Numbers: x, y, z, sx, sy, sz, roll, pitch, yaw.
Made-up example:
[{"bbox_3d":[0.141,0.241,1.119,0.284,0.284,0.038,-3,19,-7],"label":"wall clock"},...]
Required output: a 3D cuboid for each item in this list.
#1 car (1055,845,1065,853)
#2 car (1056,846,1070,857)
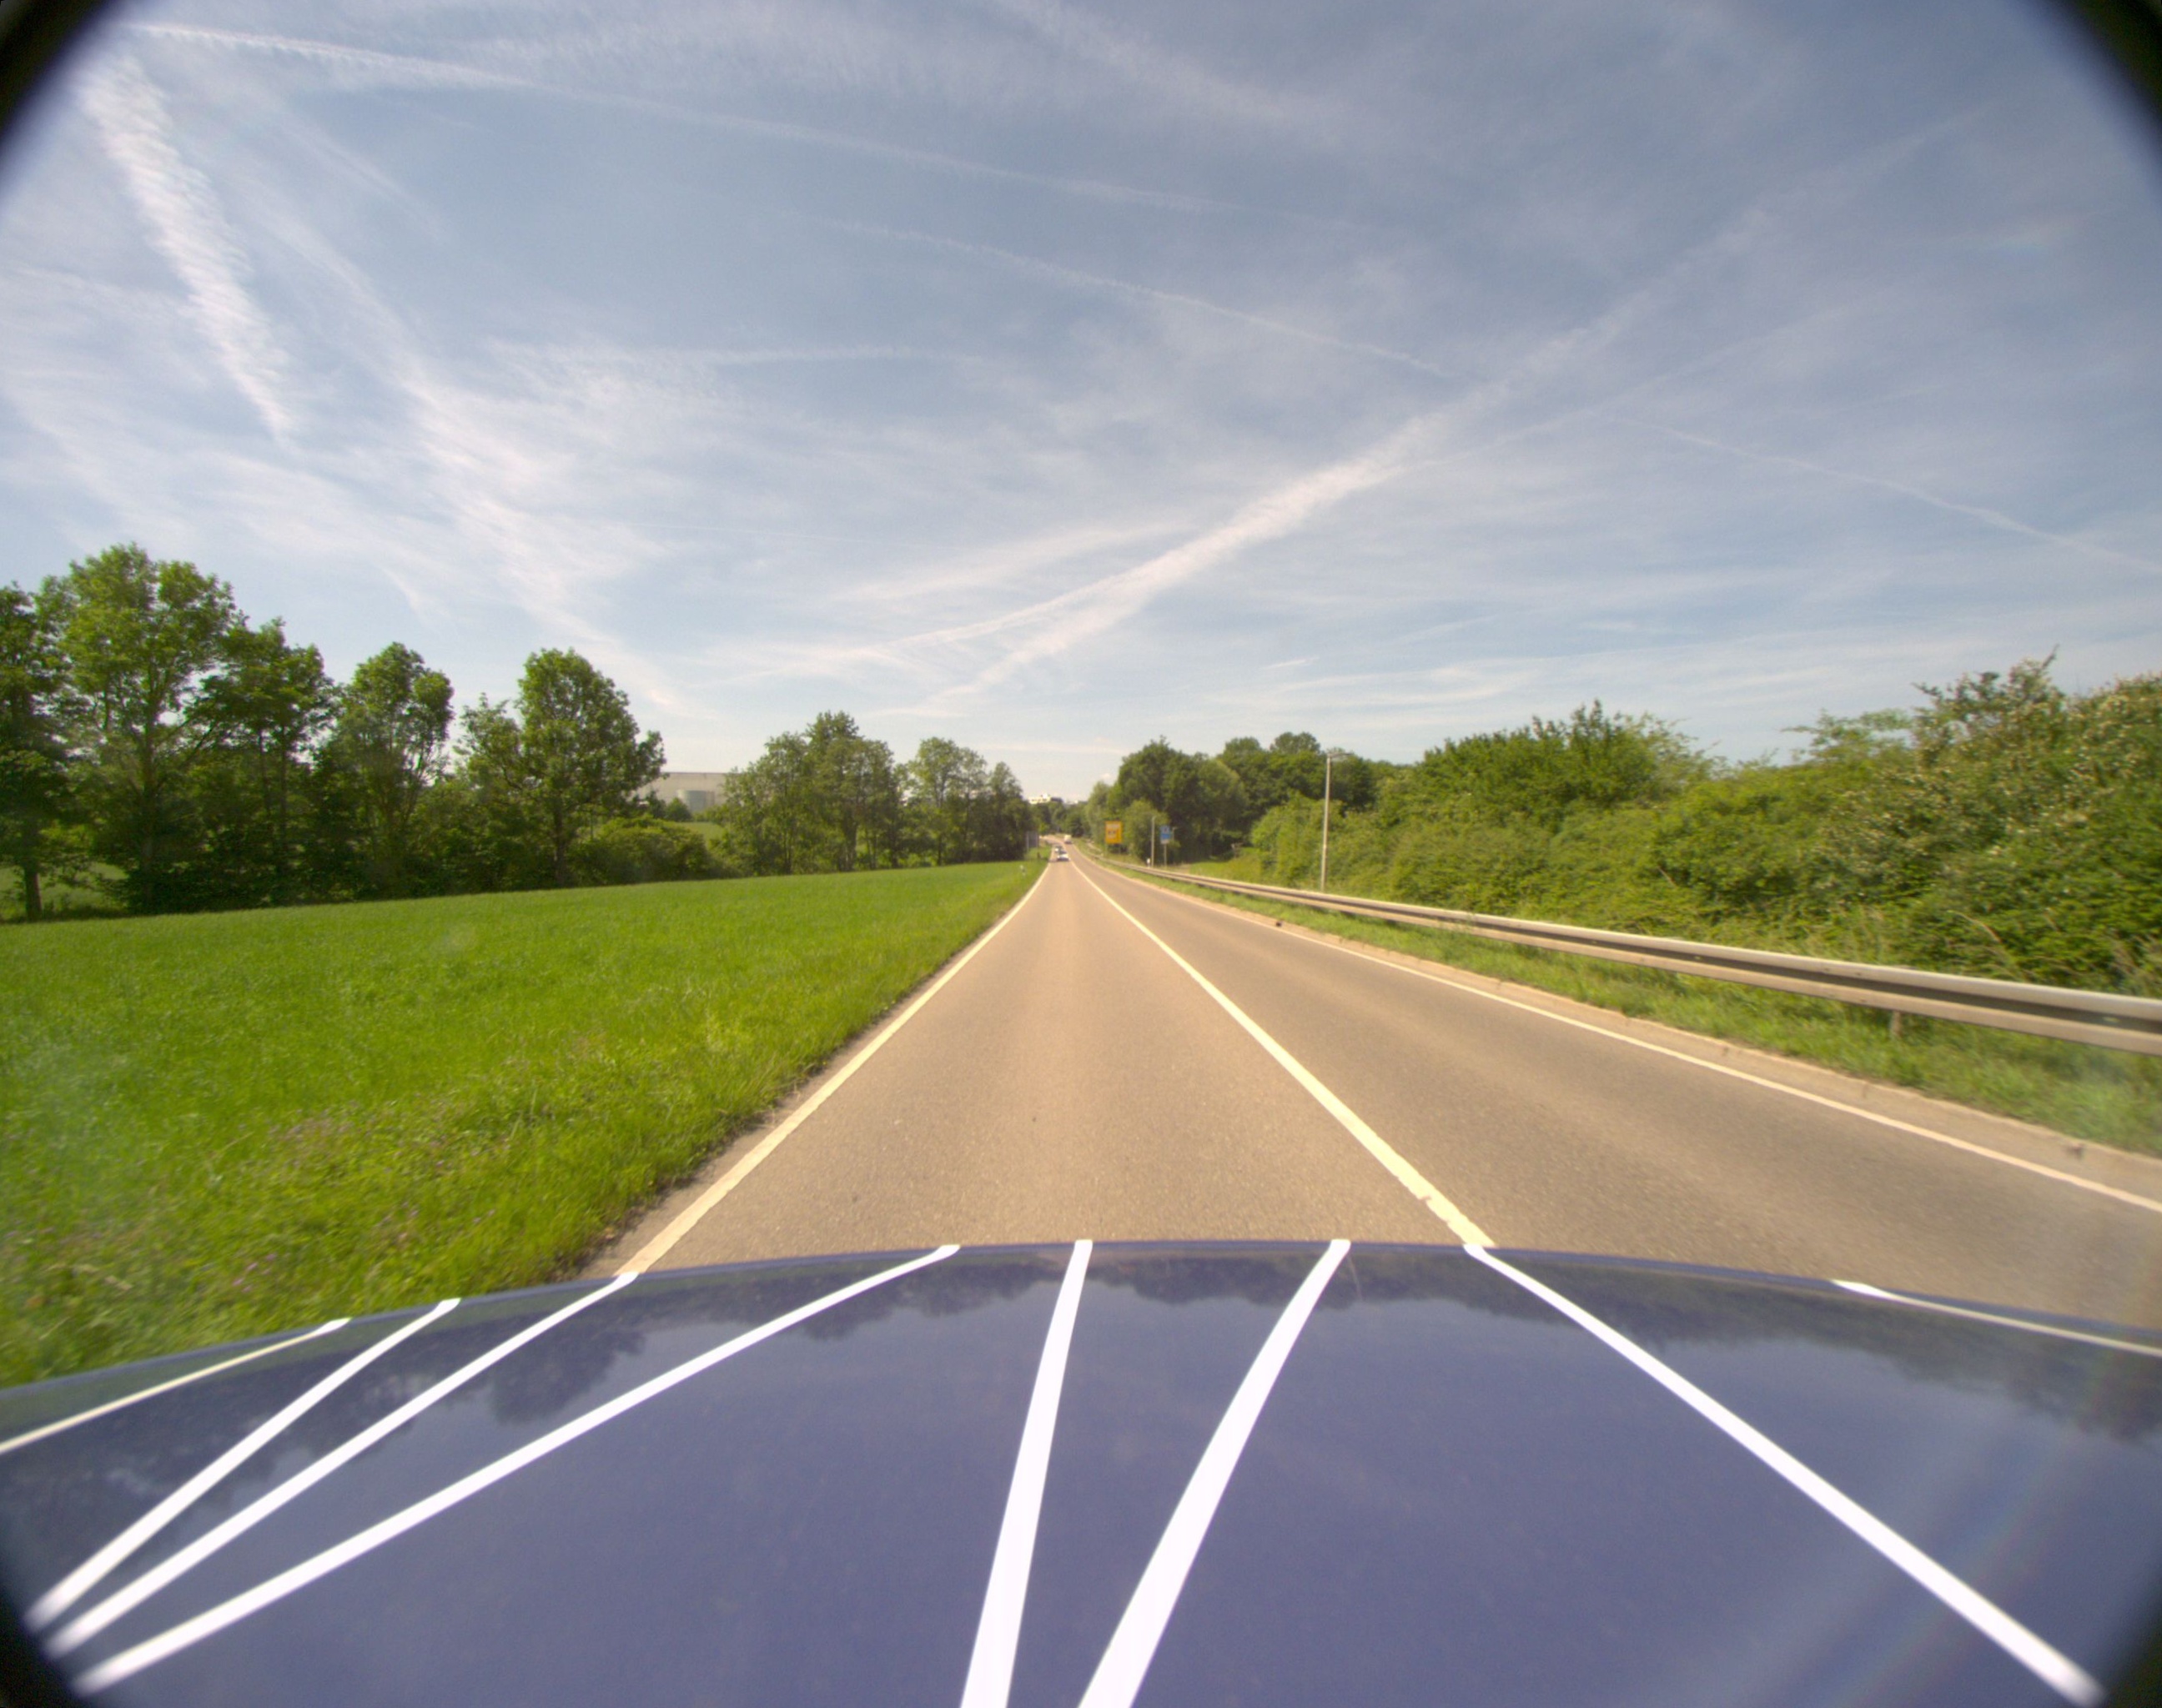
[{"bbox_3d":[-4.638,-1.052,167.685,1.999,1.575,3.999,-2,0,-2],"label":"car"},{"bbox_3d":[-2.712,-0.318,113.768,1.999,1.576,3.999,-2,0,-3],"label":"car"}]
